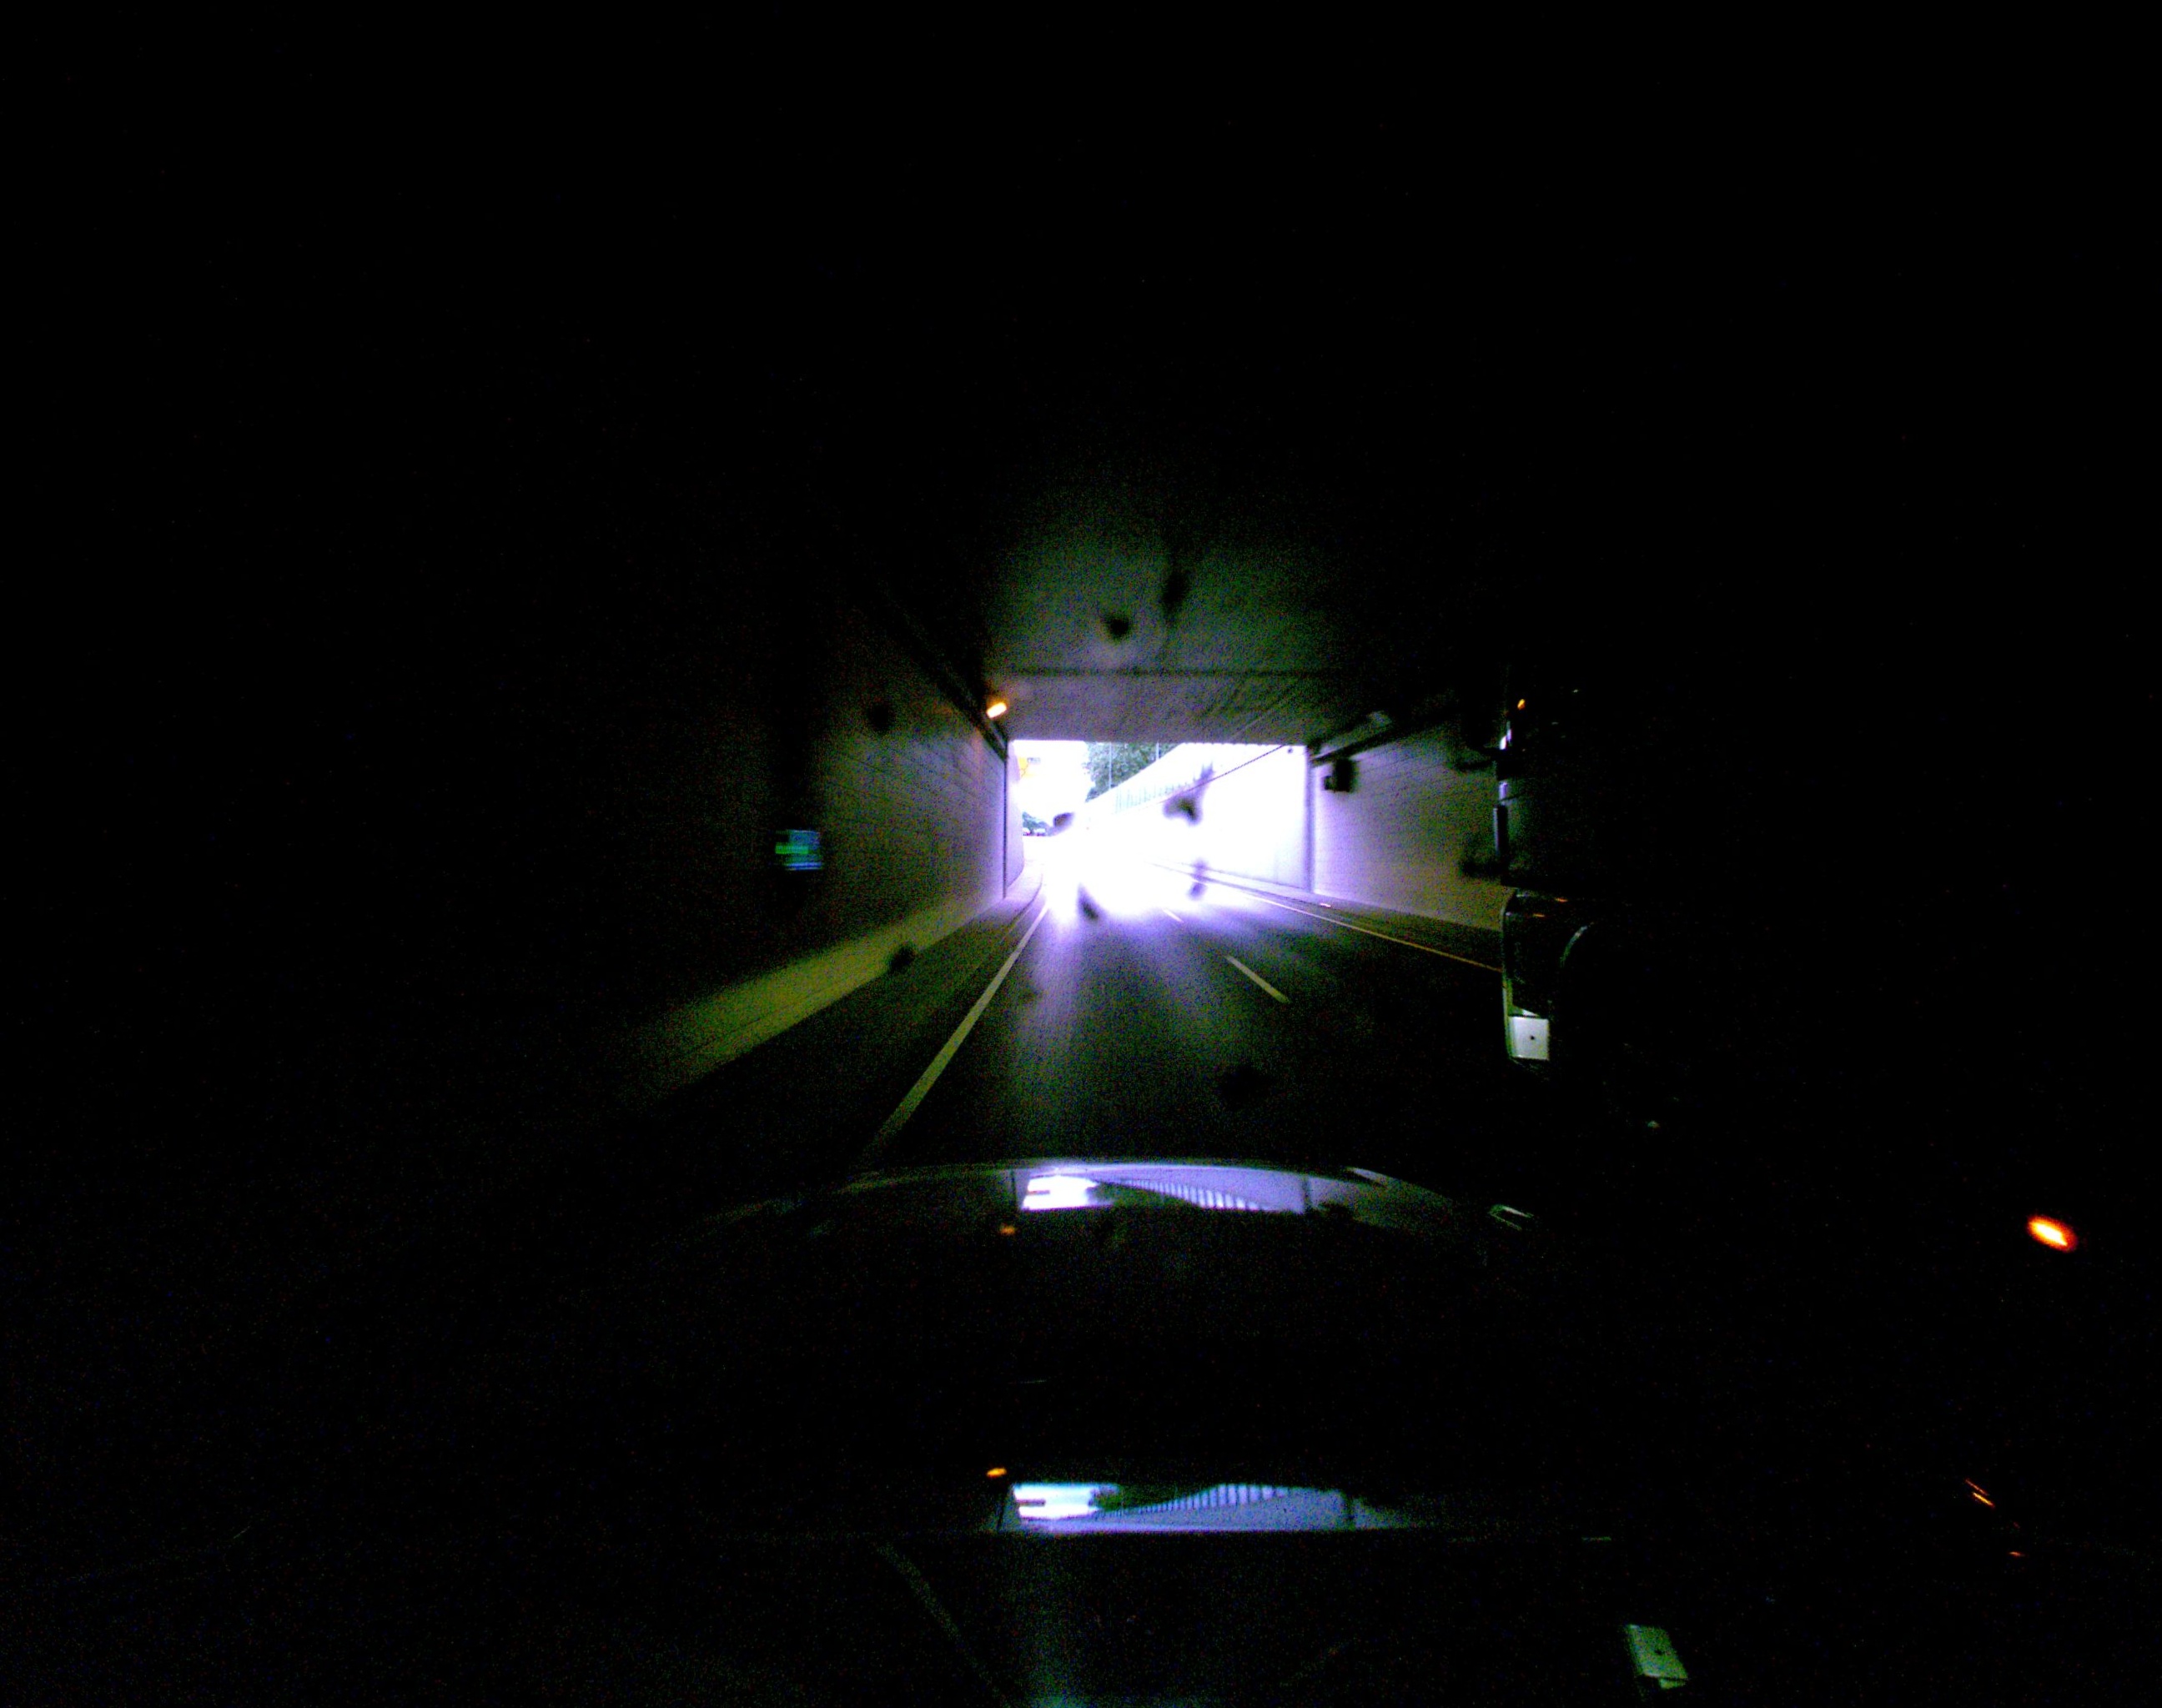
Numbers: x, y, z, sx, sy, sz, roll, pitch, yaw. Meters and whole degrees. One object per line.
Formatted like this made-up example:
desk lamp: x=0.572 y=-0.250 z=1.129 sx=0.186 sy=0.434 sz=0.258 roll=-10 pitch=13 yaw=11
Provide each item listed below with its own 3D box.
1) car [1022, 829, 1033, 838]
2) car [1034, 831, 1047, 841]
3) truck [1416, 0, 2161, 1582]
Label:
car: x=-9.877 y=-3.718 z=149.187 sx=1.839 sy=1.388 sz=3.991 roll=0 pitch=0 yaw=-6
car: x=-7.682 y=-3.451 z=154.078 sx=1.869 sy=1.732 sz=3.987 roll=0 pitch=0 yaw=-9
truck: x=3.450 y=-0.582 z=0.126 sx=2.879 sy=3.913 sz=9.910 roll=0 pitch=0 yaw=1
